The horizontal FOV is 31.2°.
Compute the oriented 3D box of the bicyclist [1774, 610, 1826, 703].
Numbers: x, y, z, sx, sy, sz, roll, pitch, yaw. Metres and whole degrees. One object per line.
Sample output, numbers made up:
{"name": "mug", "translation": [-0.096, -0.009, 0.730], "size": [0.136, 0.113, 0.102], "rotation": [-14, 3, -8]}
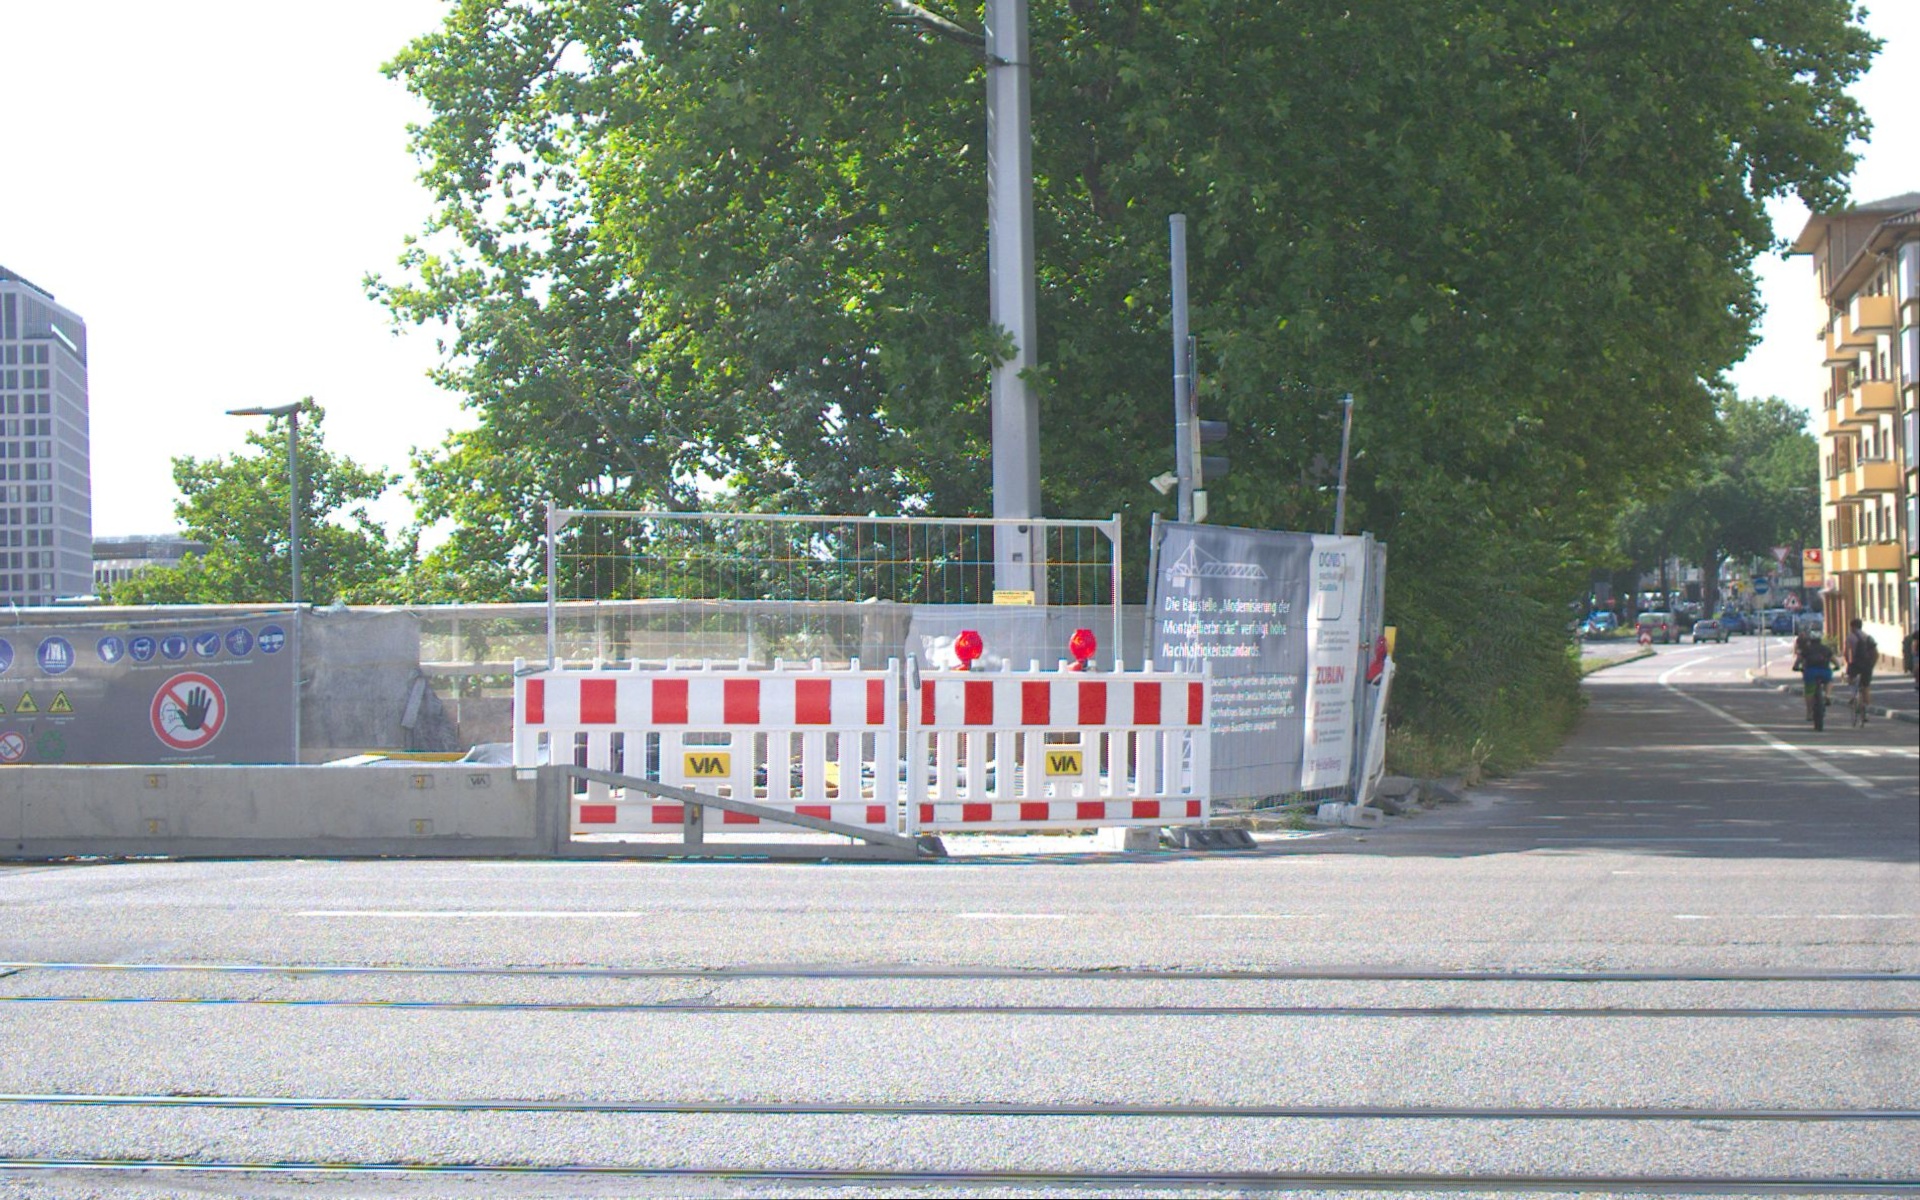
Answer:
{"name": "bicyclist", "translation": [13.995, 0.928, 57.269], "size": [0.838, 1.532, 1.023], "rotation": [0, -1, 14]}

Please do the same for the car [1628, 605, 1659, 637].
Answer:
{"name": "car", "translation": [36.607, 1.109, 184.120], "size": [1.627, 1.617, 3.694], "rotation": [0, 1, 11]}

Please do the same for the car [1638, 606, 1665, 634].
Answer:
{"name": "car", "translation": [43.016, 1.220, 213.889], "size": [1.627, 1.617, 3.694], "rotation": [0, 1, 11]}

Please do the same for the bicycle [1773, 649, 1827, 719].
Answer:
{"name": "bicycle", "translation": [14.012, 1.385, 57.305], "size": [0.838, 1.133, 2.857], "rotation": [0, -1, 14]}

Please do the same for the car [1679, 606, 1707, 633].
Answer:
{"name": "car", "translation": [45.666, 1.206, 214.120], "size": [1.627, 1.617, 3.694], "rotation": [0, 1, 11]}

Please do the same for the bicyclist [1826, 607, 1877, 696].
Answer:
{"name": "bicyclist", "translation": [15.540, 0.899, 59.935], "size": [0.838, 1.532, 1.023], "rotation": [0, -1, 14]}

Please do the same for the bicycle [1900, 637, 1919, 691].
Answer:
{"name": "bicycle", "translation": [20.581, 1.353, 73.577], "size": [0.838, 1.133, 2.857], "rotation": [0, -1, 14]}

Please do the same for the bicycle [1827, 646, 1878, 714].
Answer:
{"name": "bicycle", "translation": [15.516, 1.381, 59.824], "size": [0.838, 1.133, 2.857], "rotation": [0, -1, 14]}

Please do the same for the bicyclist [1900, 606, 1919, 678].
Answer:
{"name": "bicyclist", "translation": [20.565, 0.903, 73.533], "size": [0.838, 1.532, 1.023], "rotation": [0, -1, 14]}
